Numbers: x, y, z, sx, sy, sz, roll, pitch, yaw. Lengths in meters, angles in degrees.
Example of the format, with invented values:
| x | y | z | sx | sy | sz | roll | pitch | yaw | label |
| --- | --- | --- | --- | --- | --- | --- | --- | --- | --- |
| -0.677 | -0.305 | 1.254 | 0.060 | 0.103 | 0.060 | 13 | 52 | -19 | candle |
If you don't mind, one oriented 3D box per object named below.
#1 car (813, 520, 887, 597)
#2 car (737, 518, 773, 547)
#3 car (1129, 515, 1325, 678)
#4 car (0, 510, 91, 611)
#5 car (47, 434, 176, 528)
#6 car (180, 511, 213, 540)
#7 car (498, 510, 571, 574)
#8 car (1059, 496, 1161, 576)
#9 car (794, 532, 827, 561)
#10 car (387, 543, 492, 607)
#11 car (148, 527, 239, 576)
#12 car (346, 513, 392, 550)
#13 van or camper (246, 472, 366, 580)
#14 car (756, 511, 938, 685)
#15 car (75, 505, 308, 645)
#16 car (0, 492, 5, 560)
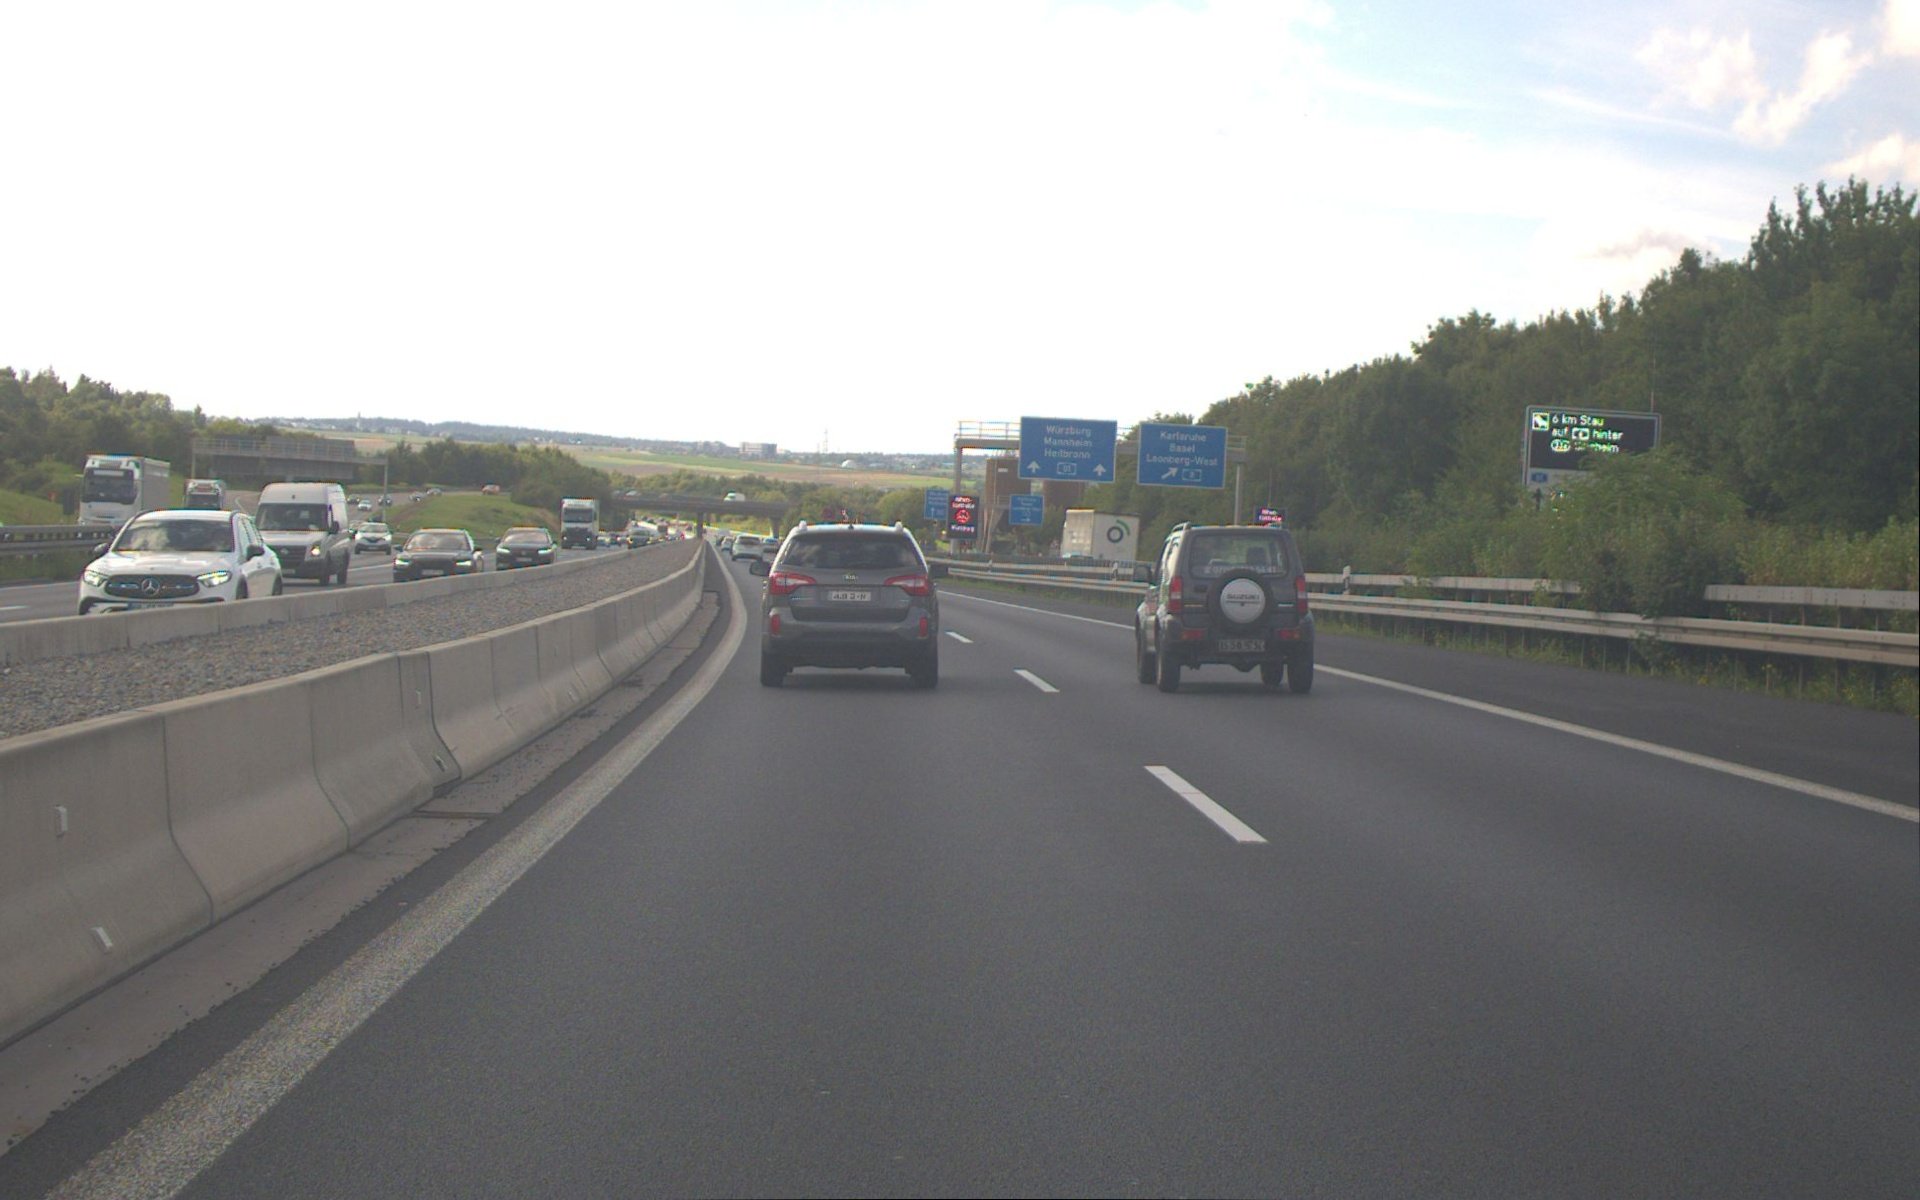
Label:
| x | y | z | sx | sy | sz | roll | pitch | yaw | label |
| --- | --- | --- | --- | --- | --- | --- | --- | --- | --- |
| -3.163 | -1.211 | 99.266 | 2.030 | 2.144 | 4.000 | 1 | 1 | -1 | car |
| -12.924 | -4.264 | 216.403 | 1.993 | 1.678 | 4.001 | 1 | -1 | -7 | car |
| 2.768 | -0.070 | 36.388 | 1.587 | 1.591 | 4.096 | 1 | 1 | -2 | car |
| -16.579 | -0.726 | 60.359 | 1.725 | 1.694 | 4.153 | 1 | 1 | -3 | car |
| -39.322 | -5.415 | 159.811 | 3.816 | 4.066 | 14.833 | 1 | 1 | -6 | car |
| -55.362 | -5.404 | 249.277 | 1.993 | 2.007 | 4.274 | 1 | 1 | -8 | car |
| -14.022 | -1.914 | 113.482 | 1.993 | 2.007 | 4.273 | 2 | 1 | -2 | car |
| 8.433 | -3.615 | 195.406 | 4.728 | 4.251 | 11.405 | 2 | 1 | -2 | car |
| -10.480 | -3.748 | 240.650 | 1.993 | 1.922 | 4.001 | 1 | -1 | -7 | car |
| -12.306 | -0.620 | 81.557 | 1.925 | 1.430 | 4.778 | 1 | 1 | -2 | car |
| -21.307 | -1.365 | 95.706 | 1.626 | 1.289 | 4.756 | 1 | 1 | -2 | car |
| -29.999 | -3.488 | 174.692 | 1.993 | 1.784 | 4.274 | 1 | 1 | -6 | car |
| -16.655 | -1.886 | 87.886 | 1.986 | 2.615 | 6.864 | 1 | 1 | -2 | van or camper |
| -1.220 | -0.029 | 37.518 | 1.817 | 1.730 | 5.187 | 1 | 0 | -2 | car |
| -9.478 | -0.319 | 42.791 | 1.842 | 1.605 | 5.136 | 1 | 1 | -1 | car |
| -29.586 | -2.207 | 100.941 | 1.993 | 2.007 | 4.273 | 2 | 1 | -2 | car |
